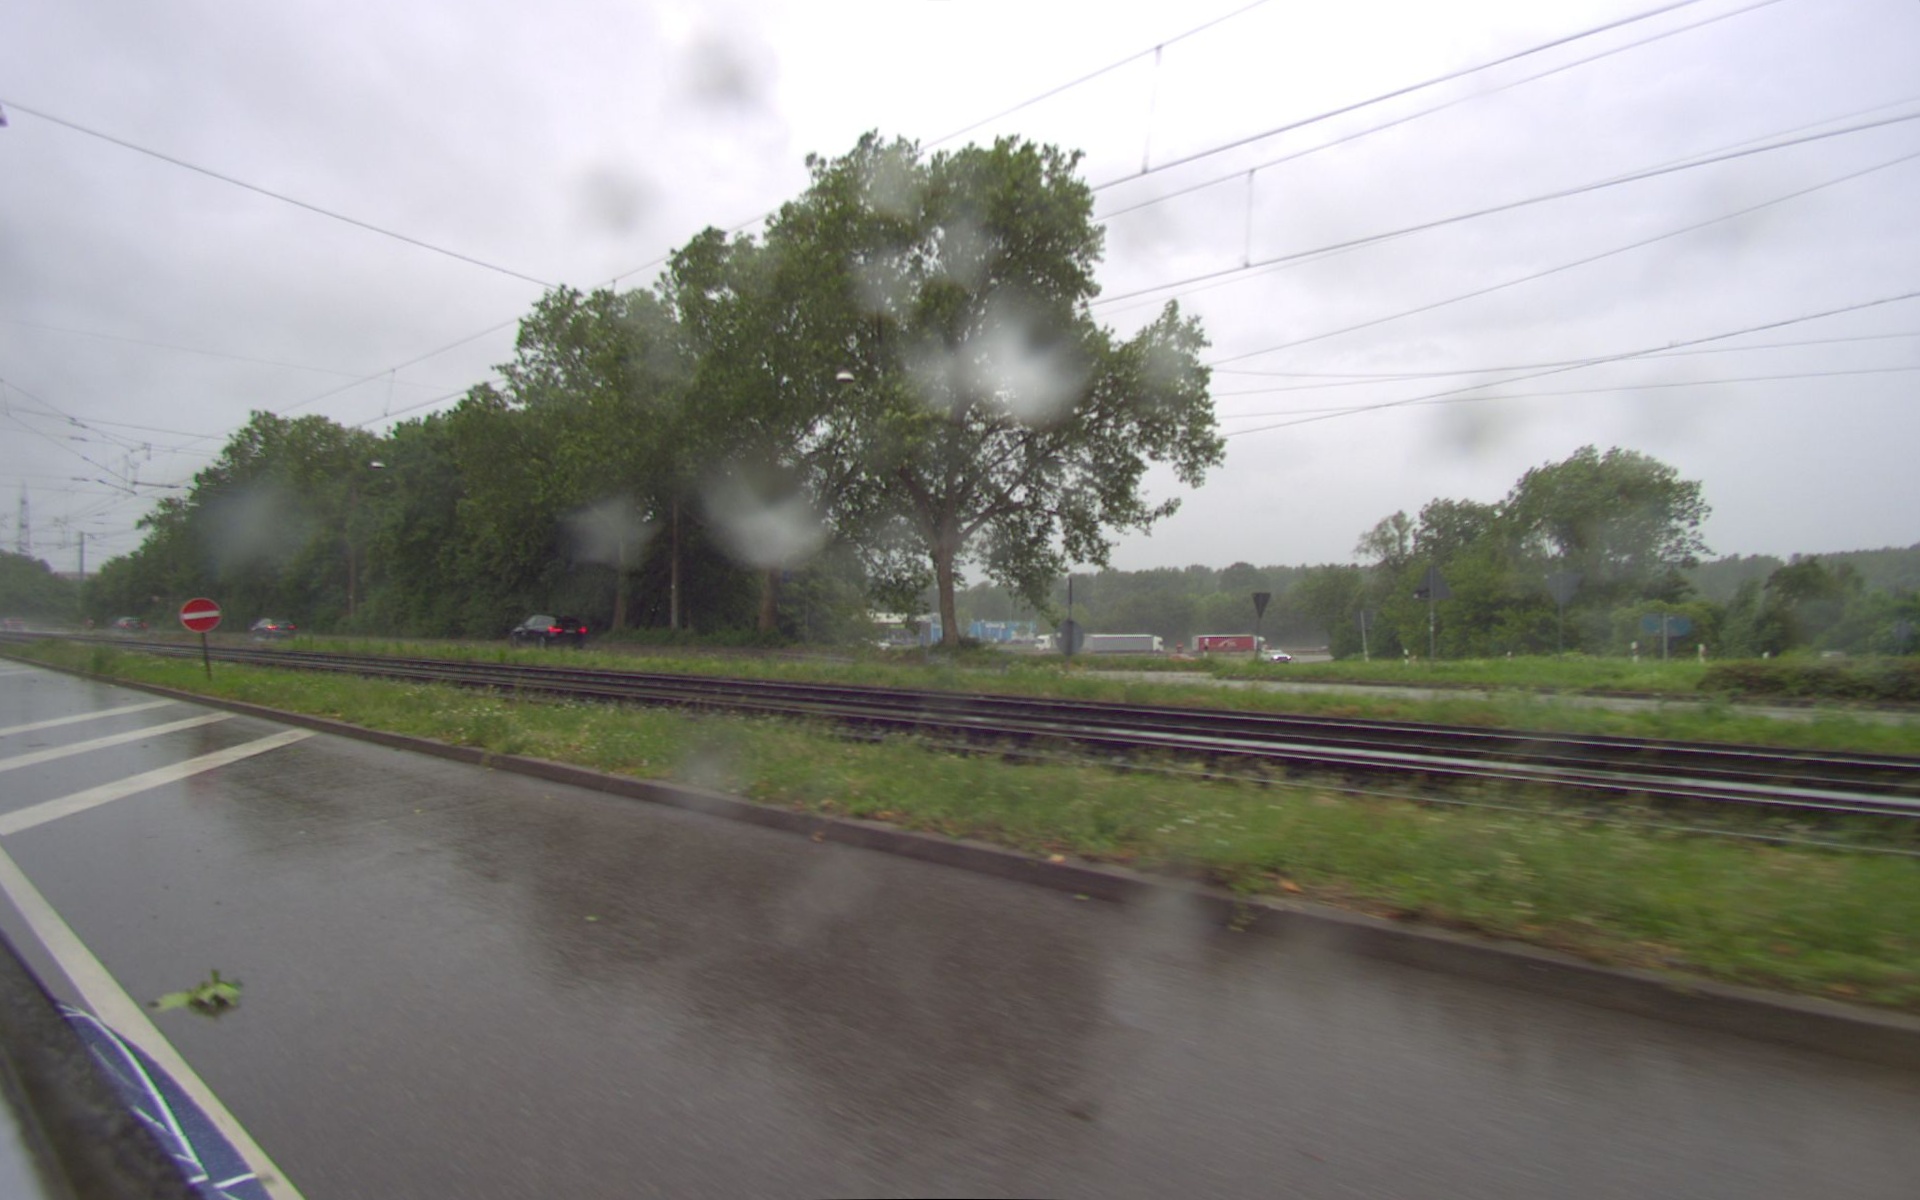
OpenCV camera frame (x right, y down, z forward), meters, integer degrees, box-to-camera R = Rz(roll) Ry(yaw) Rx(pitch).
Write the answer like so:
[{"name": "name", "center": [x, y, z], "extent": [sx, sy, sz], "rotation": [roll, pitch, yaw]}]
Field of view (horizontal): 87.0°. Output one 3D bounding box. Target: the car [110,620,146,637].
[{"name": "car", "center": [-71.152, 2.442, 86.542], "extent": [3.936, 1.416, 1.665], "rotation": [-1, -1, 40]}]

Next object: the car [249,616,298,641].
[{"name": "car", "center": [-46.098, 1.887, 67.944], "extent": [4.044, 1.580, 1.634], "rotation": [-1, 0, 40]}]

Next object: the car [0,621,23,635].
[{"name": "car", "center": [-112.356, 3.293, 119.640], "extent": [4.951, 1.535, 1.673], "rotation": [-1, -1, 39]}]

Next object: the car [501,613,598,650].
[{"name": "car", "center": [-18.307, 1.372, 45.058], "extent": [4.273, 1.540, 2.190], "rotation": [-1, -1, 39]}]
